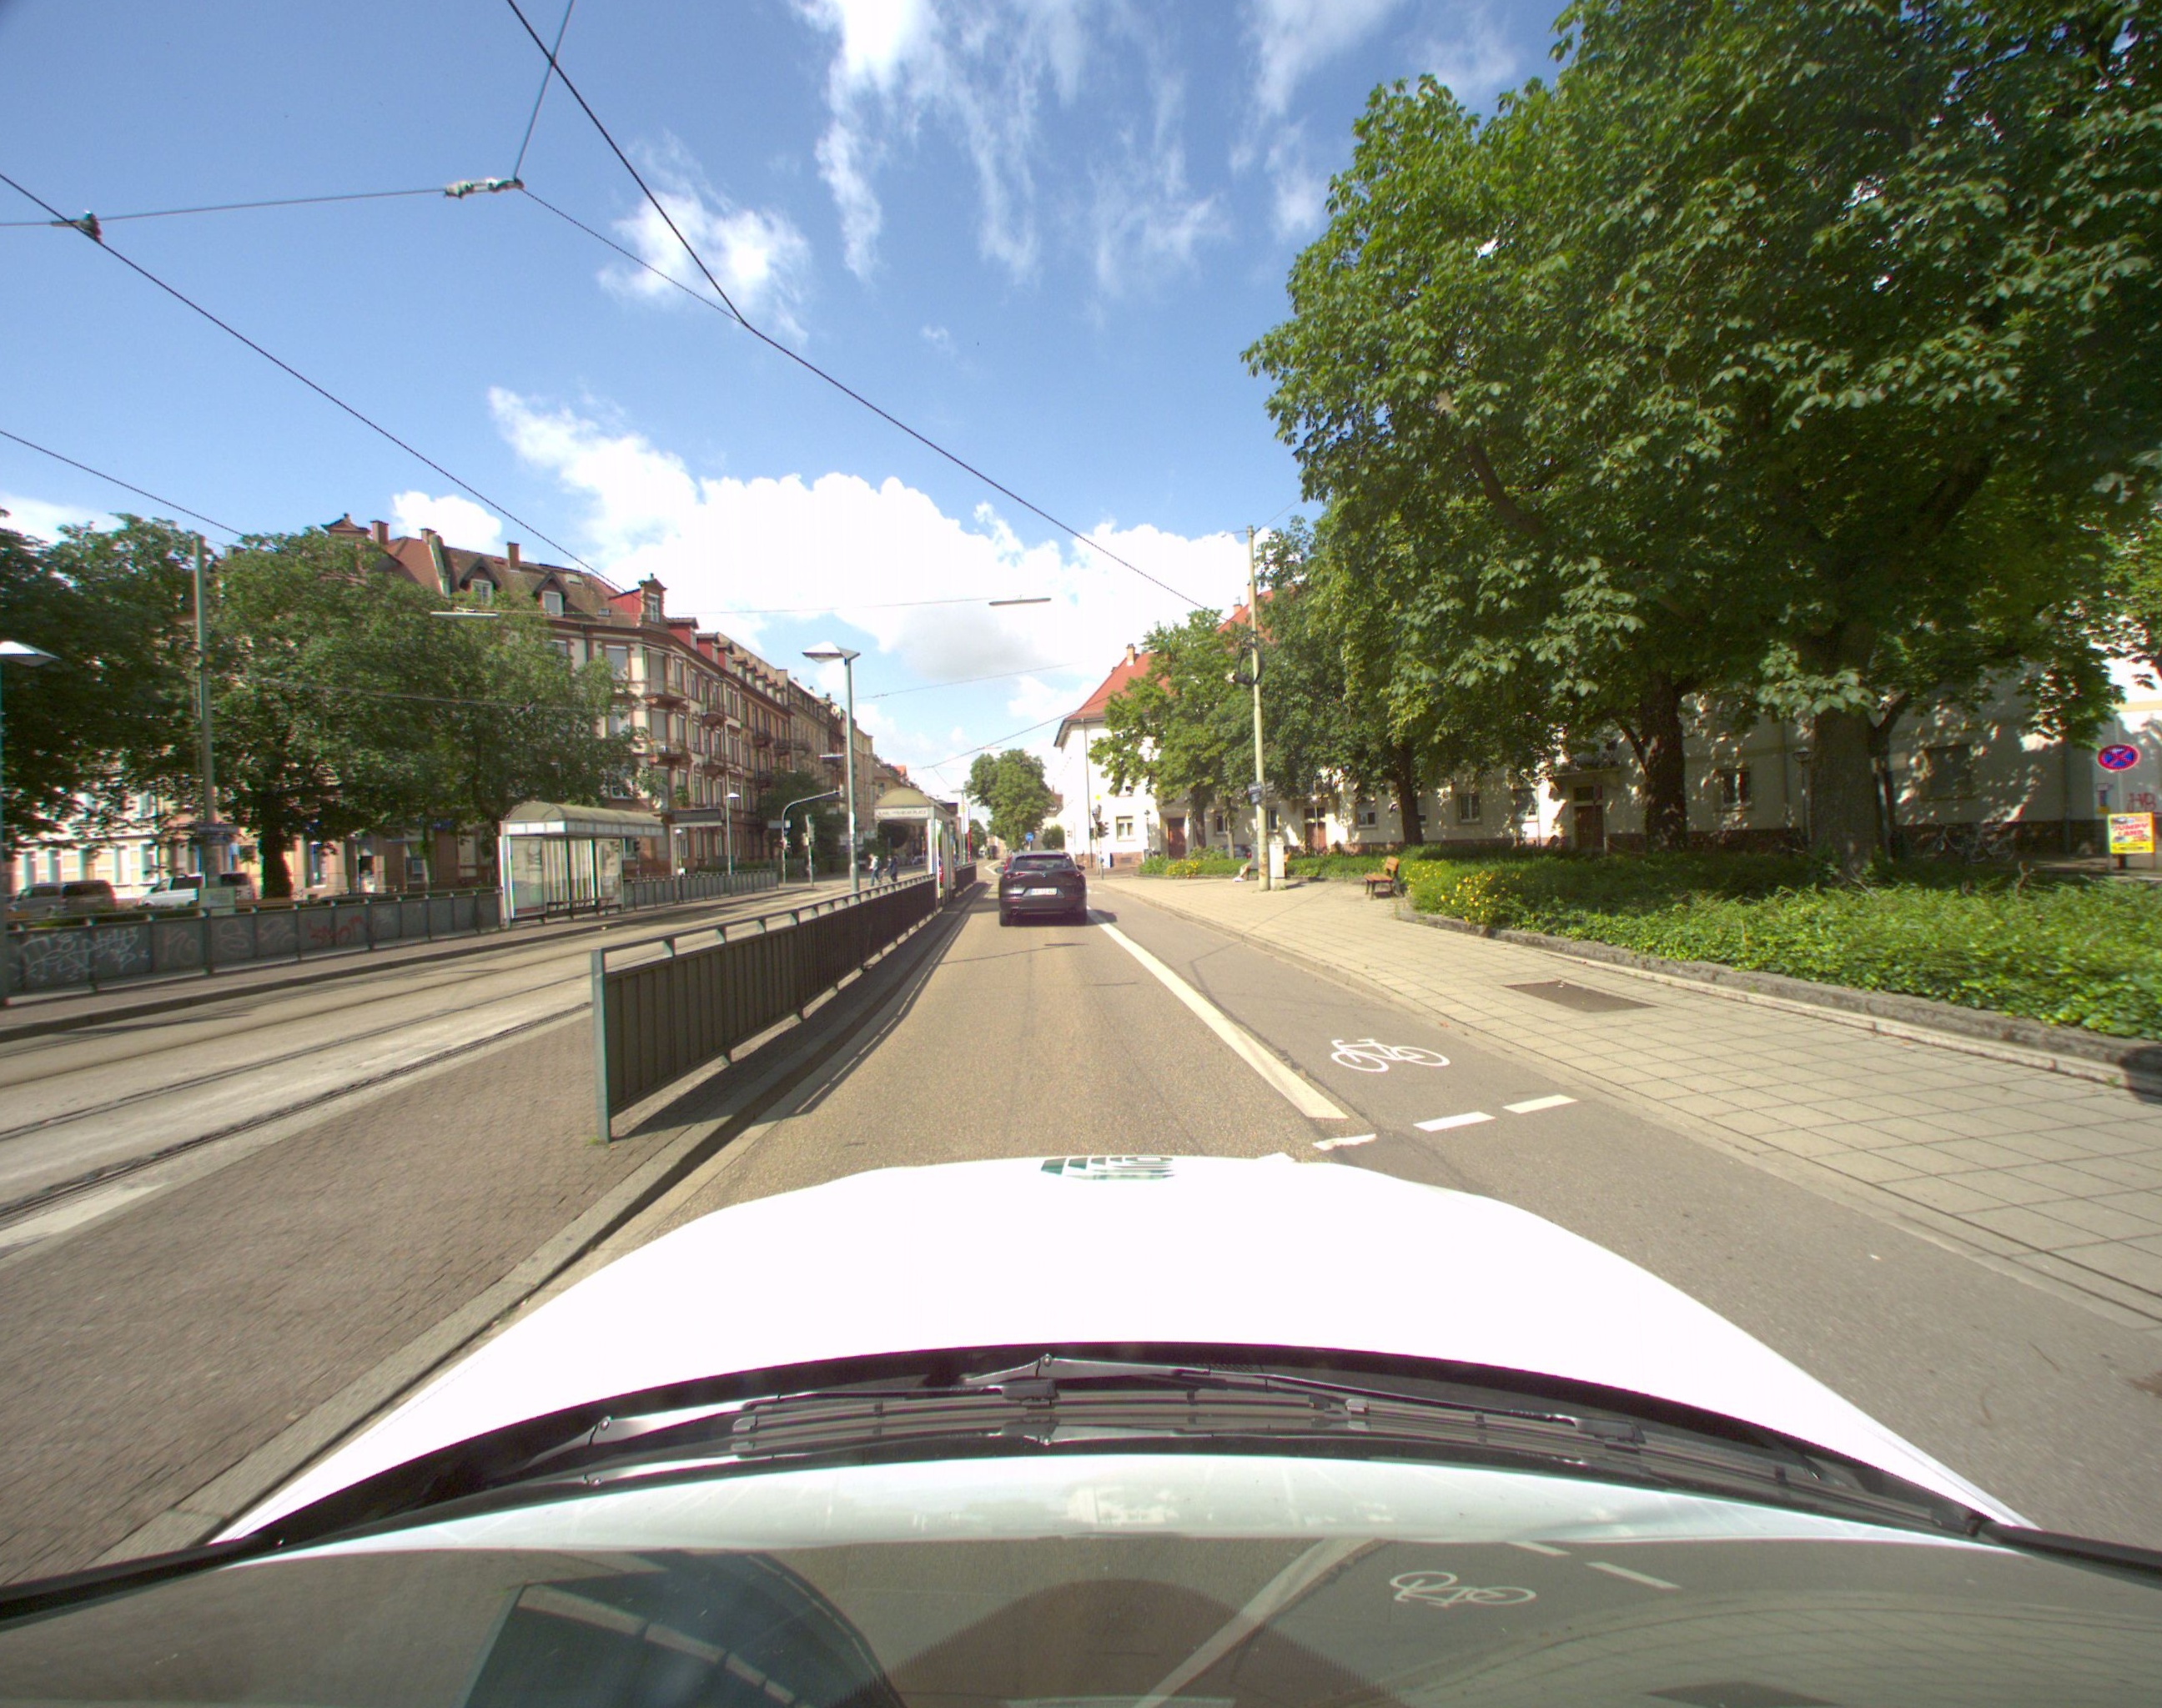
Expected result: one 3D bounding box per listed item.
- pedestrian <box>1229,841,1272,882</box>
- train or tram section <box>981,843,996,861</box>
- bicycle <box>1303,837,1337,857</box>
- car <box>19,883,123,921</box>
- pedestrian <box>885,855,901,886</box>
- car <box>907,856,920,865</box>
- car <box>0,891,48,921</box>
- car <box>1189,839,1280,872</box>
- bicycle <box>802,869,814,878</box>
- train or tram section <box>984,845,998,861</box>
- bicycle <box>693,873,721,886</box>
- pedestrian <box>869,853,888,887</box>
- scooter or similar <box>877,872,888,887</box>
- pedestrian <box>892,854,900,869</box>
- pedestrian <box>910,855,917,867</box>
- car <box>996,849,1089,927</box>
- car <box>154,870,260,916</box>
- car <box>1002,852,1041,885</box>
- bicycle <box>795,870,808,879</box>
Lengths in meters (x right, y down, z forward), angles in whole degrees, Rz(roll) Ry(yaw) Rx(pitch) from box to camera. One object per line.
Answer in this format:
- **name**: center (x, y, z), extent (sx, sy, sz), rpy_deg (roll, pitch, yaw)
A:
- **pedestrian**: center (5.703, 0.250, 27.420), extent (1.192, 1.269, 0.556), rpy_deg (-4, 0, -10)
- **train or tram section**: center (-22.768, -0.460, 201.504), extent (2.993, 3.983, 13.784), rpy_deg (-2, -1, -5)
- **bicycle**: center (13.550, -0.384, 46.151), extent (0.570, 1.020, 1.732), rpy_deg (-5, 2, -42)
- **car**: center (-50.409, 2.393, 40.661), extent (3.896, 1.663, 1.925), rpy_deg (-2, 0, 18)
- **pedestrian**: center (-9.400, 0.823, 40.736), extent (0.666, 1.546, 0.579), rpy_deg (-2, 0, -6)
- **car**: center (-29.594, 1.140, 143.968), extent (1.654, 1.596, 3.922), rpy_deg (-2, 0, -5)
- **car**: center (-55.697, 2.726, 42.087), extent (3.654, 1.393, 1.500), rpy_deg (-2, 0, 16)
- **car**: center (7.784, 0.085, 41.431), extent (4.118, 1.509, 1.864), rpy_deg (-2, 2, 37)
- **bicycle**: center (-22.103, 1.578, 65.860), extent (0.384, 0.677, 1.711), rpy_deg (-2, 0, 0)
- **train or tram section**: center (-23.772, -0.199, 215.131), extent (2.993, 3.983, 13.784), rpy_deg (-2, -1, -5)
- **bicycle**: center (-24.518, 1.693, 53.418), extent (0.381, 0.747, 1.722), rpy_deg (-2, 0, 31)
- **pedestrian**: center (-10.271, 0.786, 41.295), extent (0.770, 1.674, 0.666), rpy_deg (-2, 0, -6)
- **scooter or similar**: center (-9.928, 1.271, 40.697), extent (0.413, 0.721, 0.485), rpy_deg (-2, 0, -6)
- **pedestrian**: center (-22.720, 0.915, 99.950), extent (0.786, 1.688, 0.731), rpy_deg (-2, 0, -3)
- **pedestrian**: center (-24.120, 1.040, 117.526), extent (0.786, 1.688, 0.731), rpy_deg (-2, 0, -3)
- **car**: center (-0.946, 0.664, 17.868), extent (1.780, 1.514, 3.991), rpy_deg (0, 0, -7)
- **car**: center (-40.883, 1.802, 38.097), extent (3.903, 1.988, 1.865), rpy_deg (-2, 0, 18)
- **car**: center (-2.891, 0.670, 39.136), extent (1.772, 1.464, 3.836), rpy_deg (-1, 0, -5)
- **bicycle**: center (-21.872, 1.621, 63.668), extent (0.384, 0.653, 1.711), rpy_deg (-2, 0, 0)
